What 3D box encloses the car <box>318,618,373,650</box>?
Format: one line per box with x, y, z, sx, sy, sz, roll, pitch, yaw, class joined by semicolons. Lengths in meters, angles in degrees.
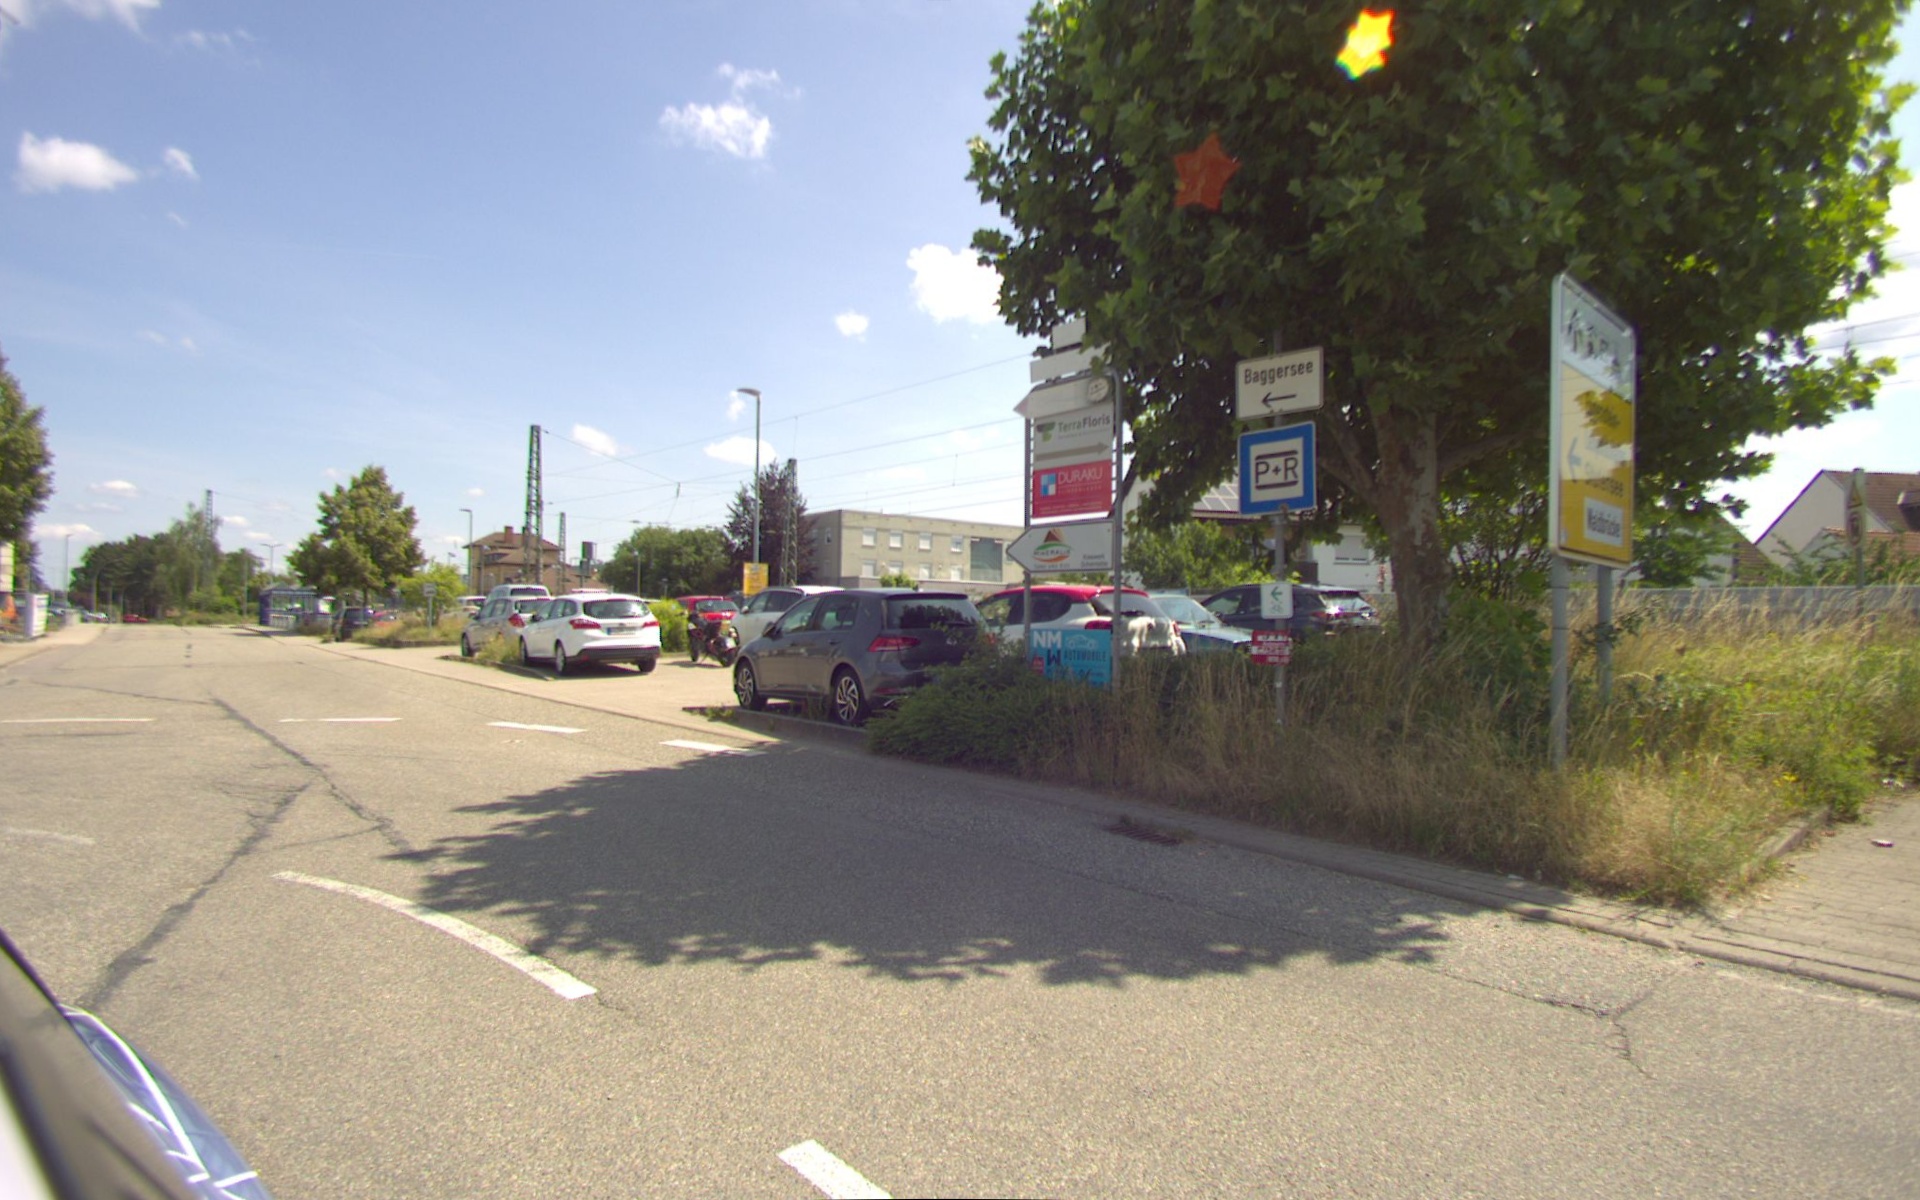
-28.100;1.538;46.249;1.583;1.360;4.007;2;-2;-39;car

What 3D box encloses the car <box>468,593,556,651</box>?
-15.027;0.733;33.826;1.922;1.847;3.844;2;-2;-35;car

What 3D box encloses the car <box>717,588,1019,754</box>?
-1.237;0.704;11.608;1.662;1.542;4.073;2;-2;-34;car

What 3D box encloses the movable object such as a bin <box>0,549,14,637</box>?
-39.262;-0.381;37.896;2.389;3.317;5.073;6;2;32;movable object such as a bin

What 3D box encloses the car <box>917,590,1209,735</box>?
1.163;0.709;12.800;1.767;1.548;3.588;2;-2;-34;car

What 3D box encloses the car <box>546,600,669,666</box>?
-9.204;0.823;26.195;1.777;1.576;4.272;2;-2;-37;car

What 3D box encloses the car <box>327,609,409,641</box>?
-31.383;1.330;53.659;1.650;1.604;3.389;2;0;43;car

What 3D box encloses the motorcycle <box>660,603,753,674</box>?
-5.421;0.786;21.432;0.727;1.383;3.221;2;-2;-36;motorcycle

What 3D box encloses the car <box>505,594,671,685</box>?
-7.332;0.725;19.691;1.780;1.576;4.271;2;-2;-38;car

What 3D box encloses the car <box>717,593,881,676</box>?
-3.686;0.729;22.544;1.967;1.670;4.273;1;-1;-34;car

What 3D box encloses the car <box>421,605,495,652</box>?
-19.555;1.095;39.329;1.706;1.698;4.007;3;-2;-39;car

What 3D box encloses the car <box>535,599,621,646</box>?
-14.156;0.809;37.362;1.922;1.621;4.282;2;-2;-35;car

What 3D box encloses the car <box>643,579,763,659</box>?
-7.151;0.520;27.939;1.821;2.029;4.009;2;-2;-36;car

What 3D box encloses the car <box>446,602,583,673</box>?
-10.734;0.857;24.253;1.769;1.556;3.964;2;-2;-43;car

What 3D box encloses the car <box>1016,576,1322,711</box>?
2.849;0.577;14.599;1.967;1.650;4.097;2;-2;-34;car

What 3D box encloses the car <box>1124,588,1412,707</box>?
4.817;0.705;16.321;1.967;1.650;4.096;2;-2;-35;car
